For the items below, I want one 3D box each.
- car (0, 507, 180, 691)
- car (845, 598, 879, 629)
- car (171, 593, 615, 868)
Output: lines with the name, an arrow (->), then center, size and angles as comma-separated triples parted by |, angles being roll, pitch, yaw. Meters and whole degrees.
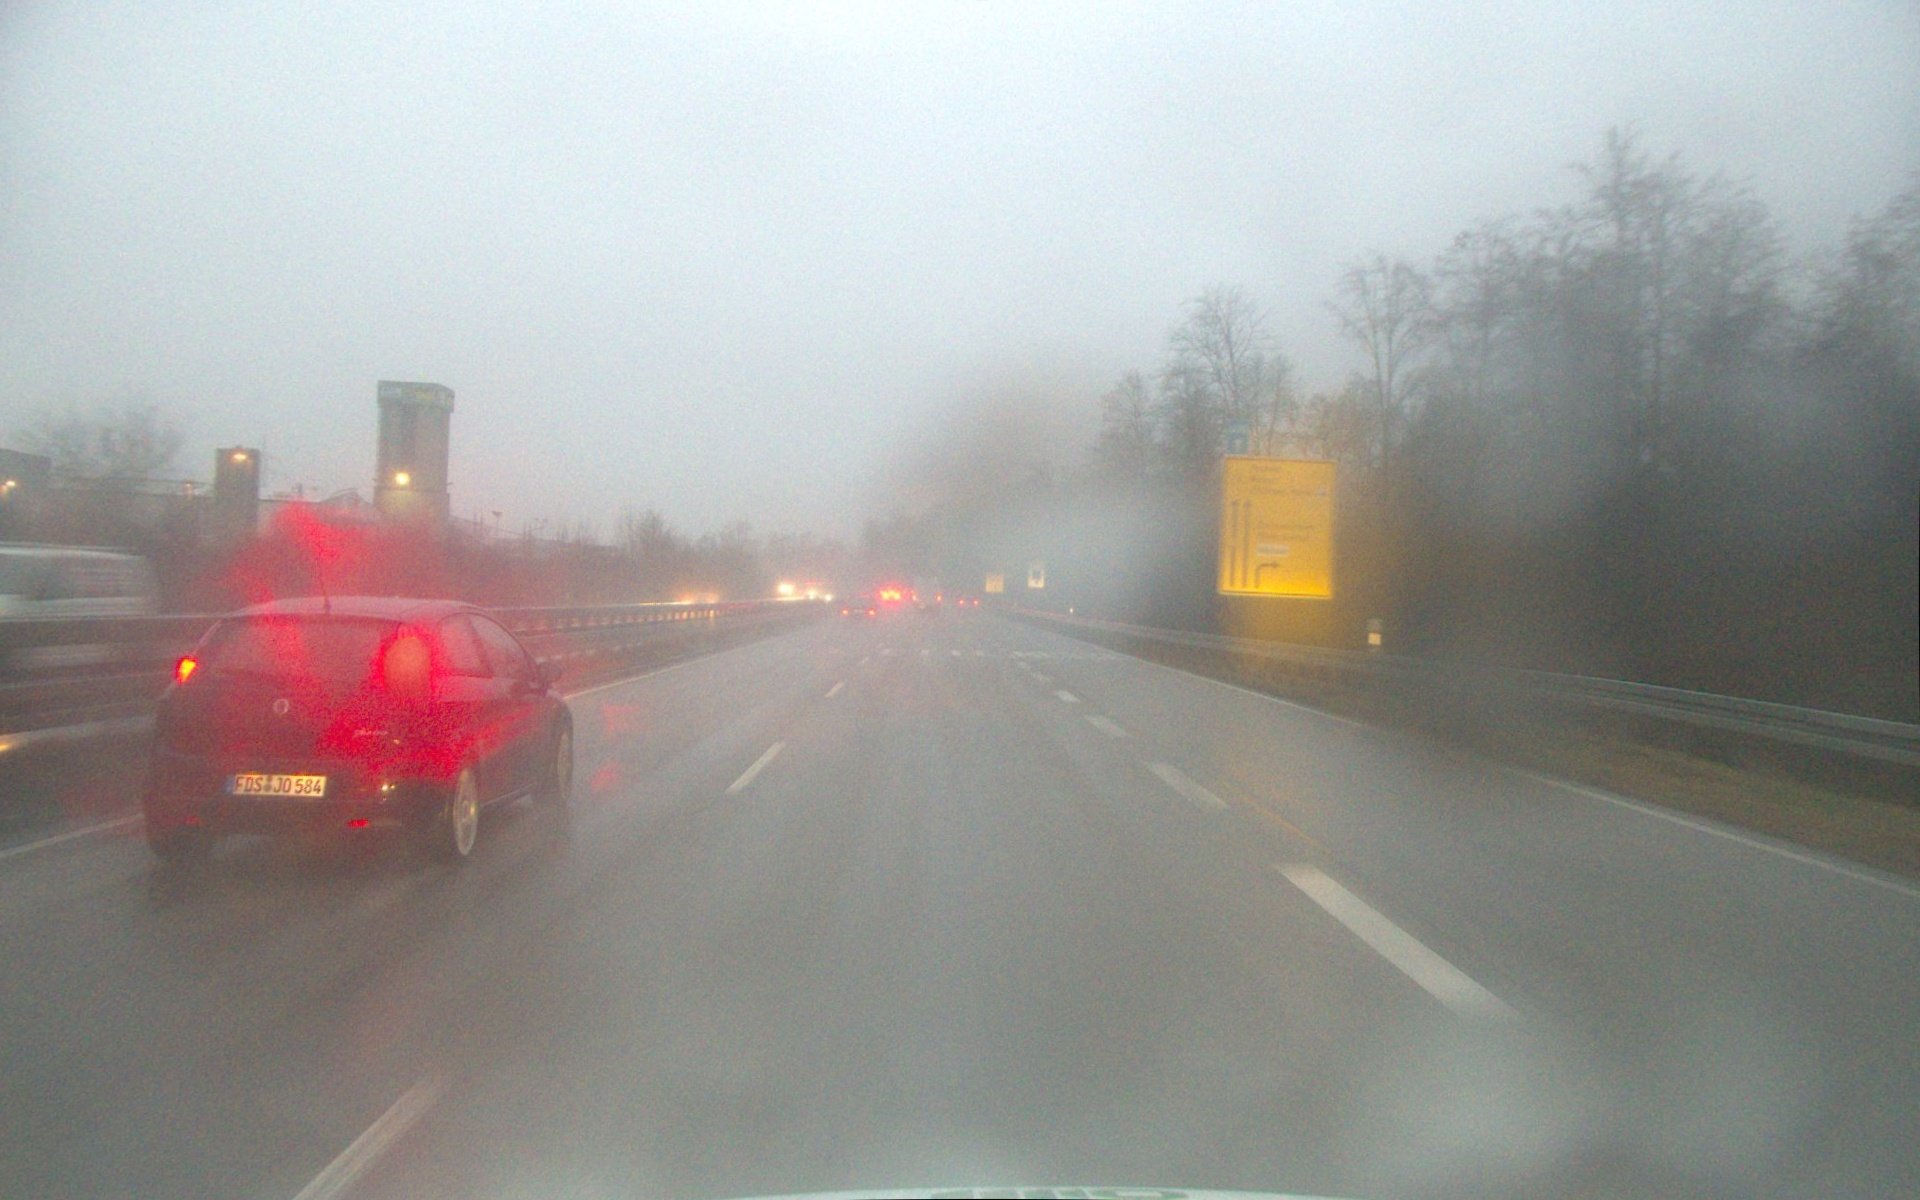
car -> -13.196, 0.090, 23.410 | 1.888, 2.337, 4.886 | 2, -3, 0
car -> -4.572, 0.618, 77.214 | 1.387, 1.340, 3.082 | 2, 0, -1
car -> -3.447, 0.710, 10.851 | 1.593, 1.416, 3.998 | 2, 0, -2
